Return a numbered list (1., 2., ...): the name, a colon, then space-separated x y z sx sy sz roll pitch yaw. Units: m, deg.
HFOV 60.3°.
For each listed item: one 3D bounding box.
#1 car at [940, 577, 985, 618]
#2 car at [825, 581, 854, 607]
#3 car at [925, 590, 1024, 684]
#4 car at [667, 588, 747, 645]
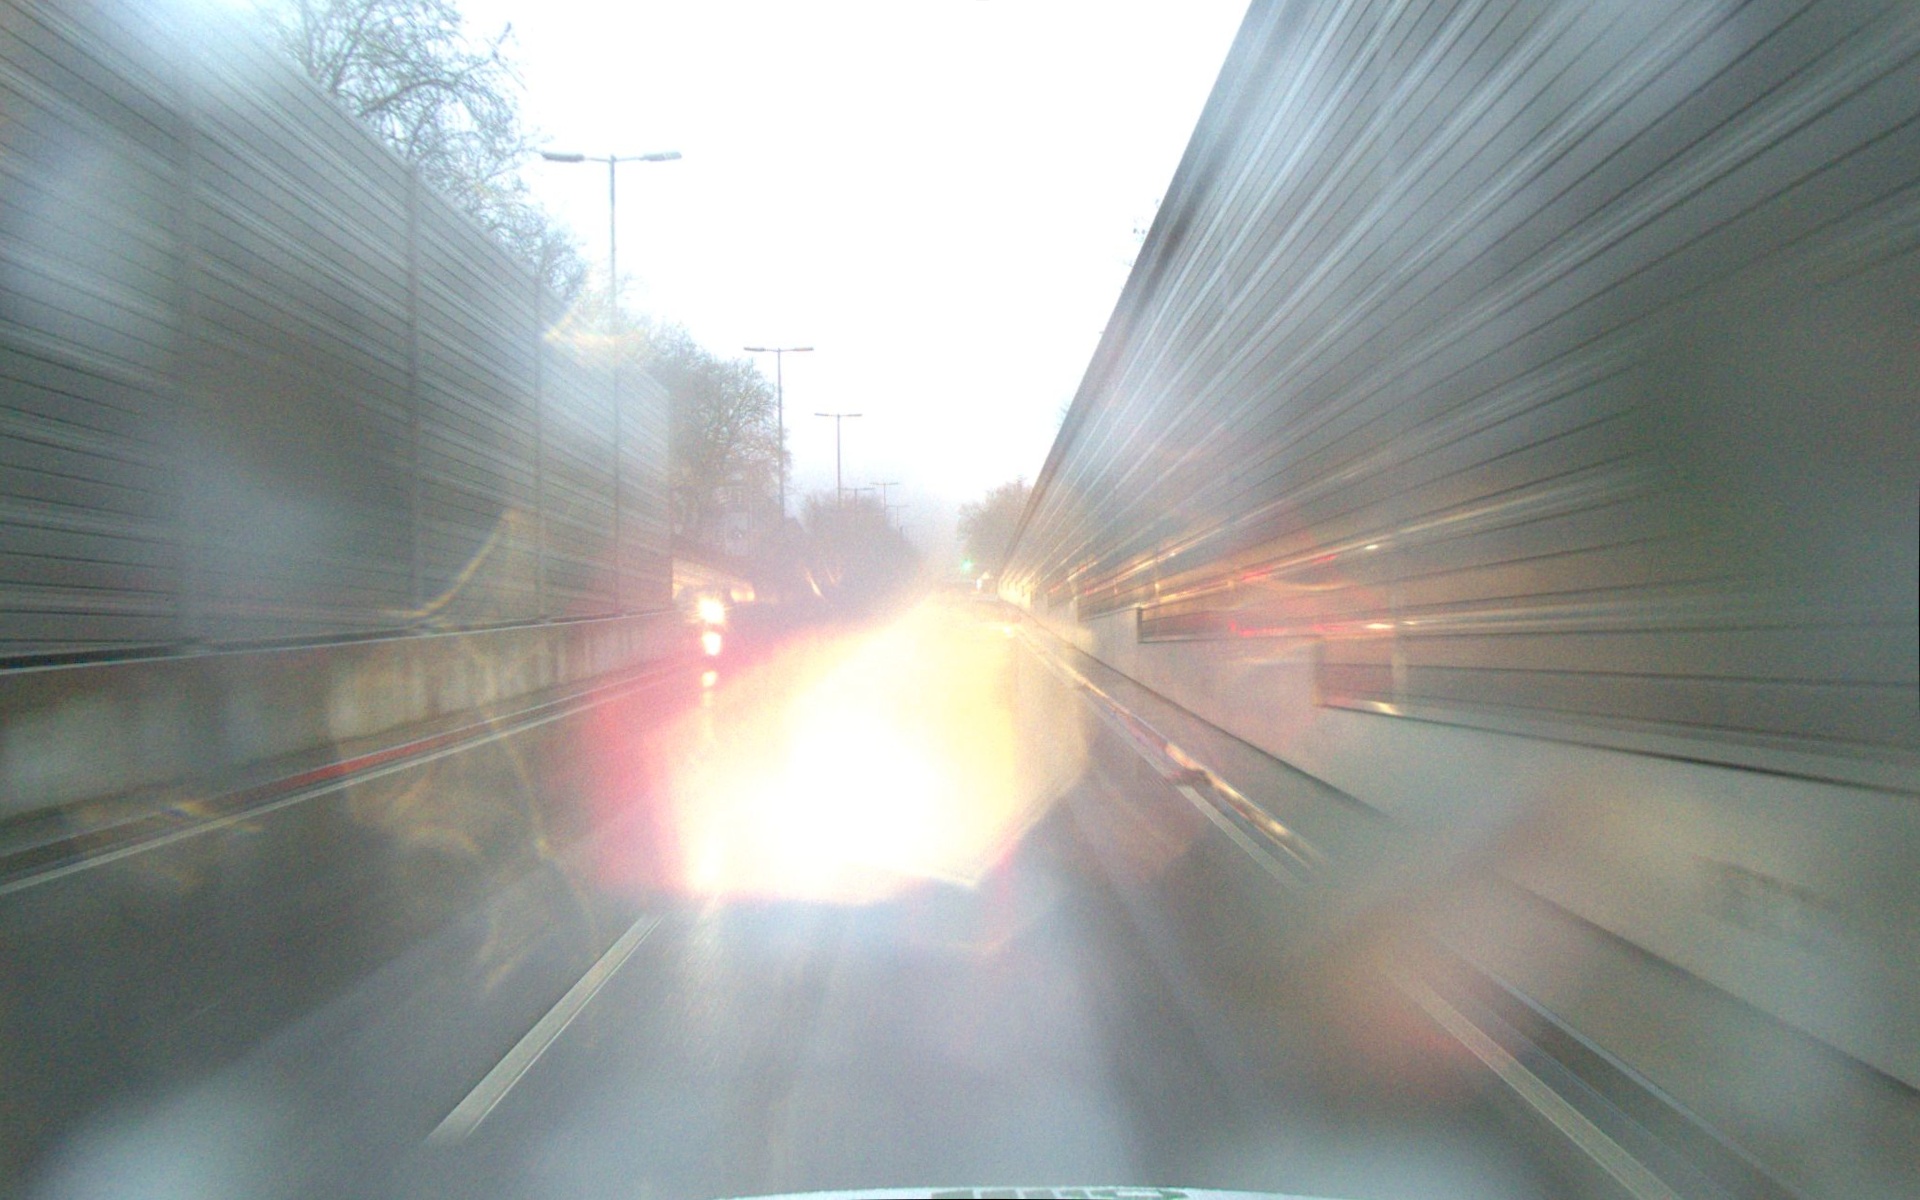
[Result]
1. car: 0.098 -0.069 73.249 1.842 1.649 3.998 1 -2 -2
2. car: -7.599 -0.394 104.248 1.539 1.496 3.687 -1 1 0
3. car: 0.227 0.596 26.988 1.500 1.422 3.433 1 -1 0
4. car: -7.857 0.555 51.660 1.842 1.649 3.999 1 -2 0
